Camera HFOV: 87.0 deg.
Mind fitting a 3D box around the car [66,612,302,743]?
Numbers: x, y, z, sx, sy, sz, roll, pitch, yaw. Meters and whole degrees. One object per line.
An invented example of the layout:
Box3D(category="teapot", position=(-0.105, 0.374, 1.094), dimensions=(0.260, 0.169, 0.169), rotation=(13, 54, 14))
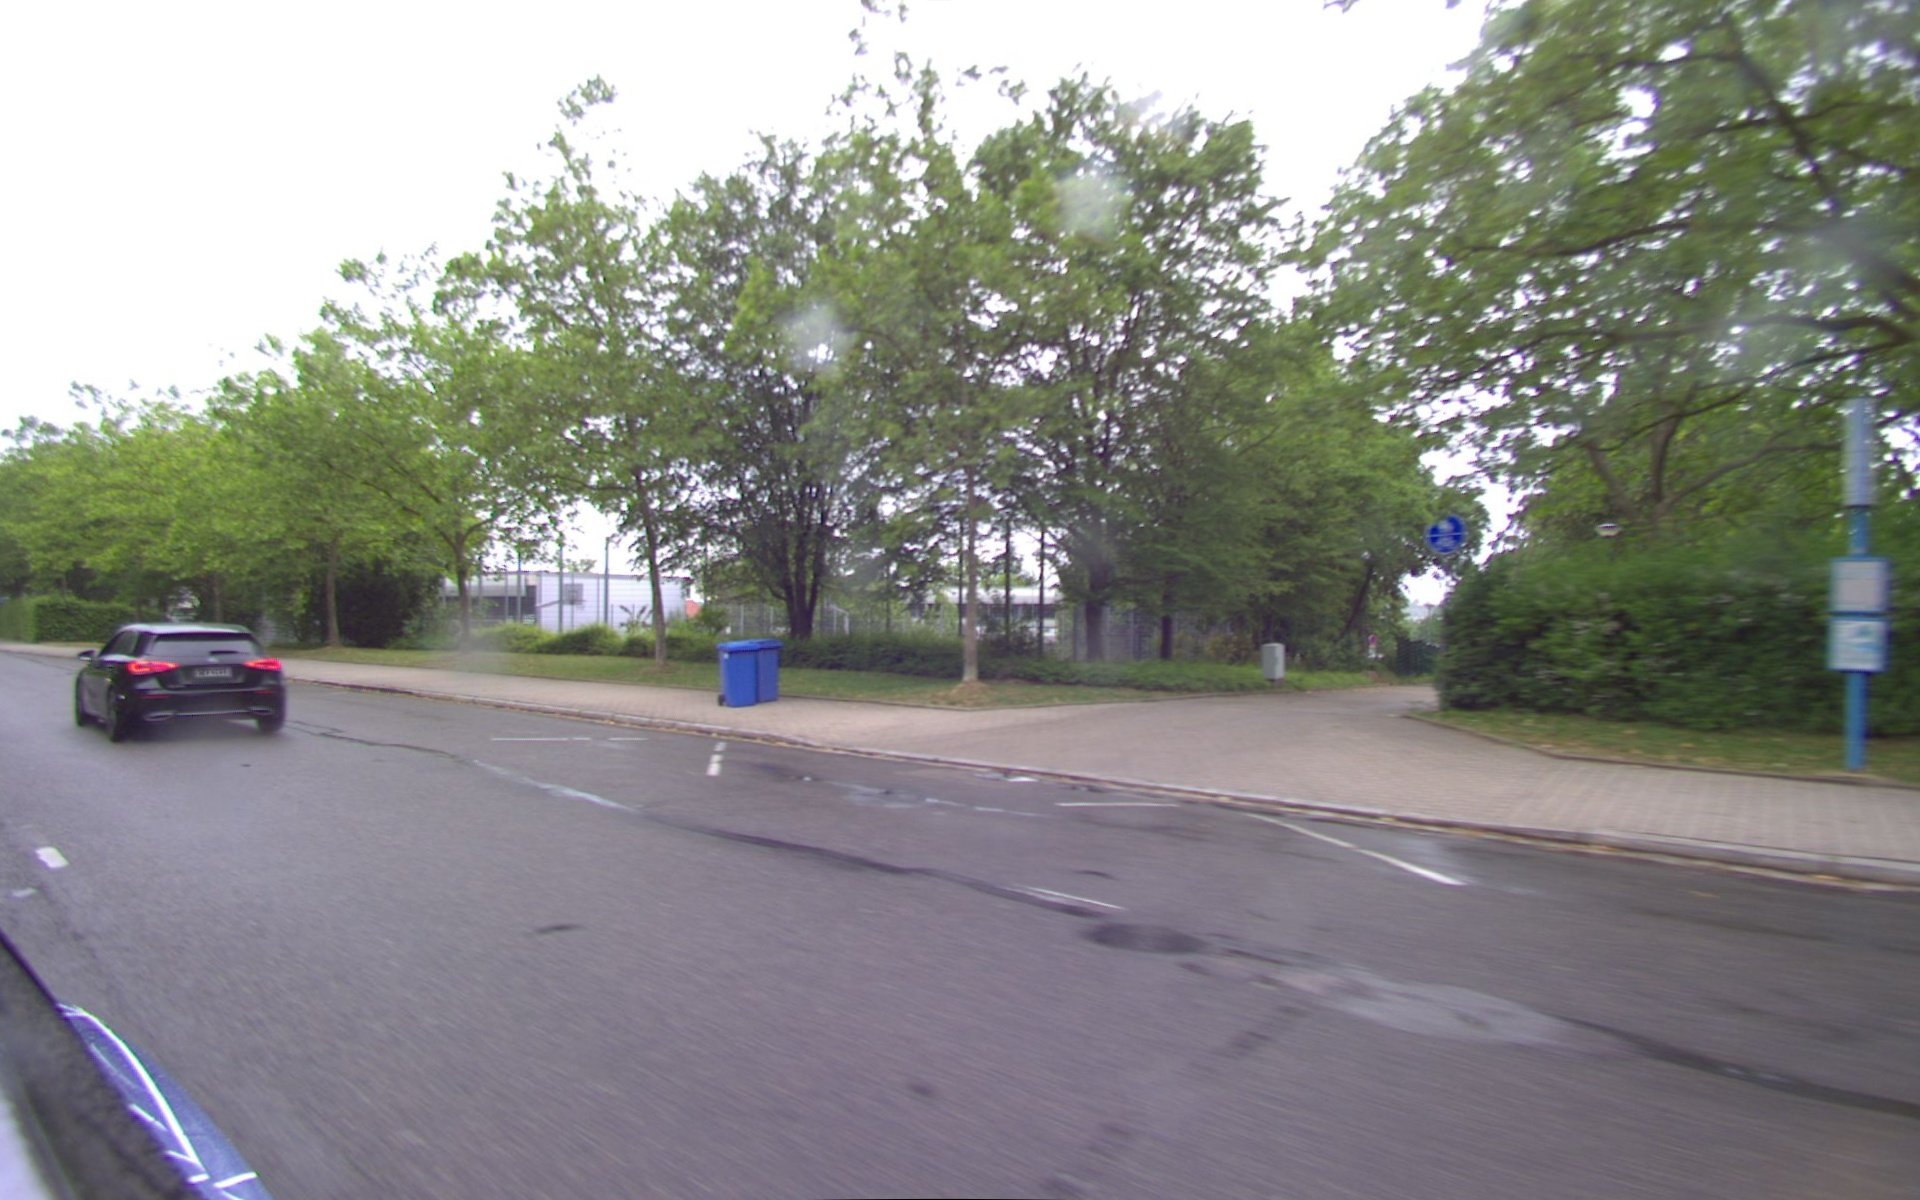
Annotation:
Box3D(category="car", position=(-10.398, 0.923, 13.455), dimensions=(4.000, 1.476, 1.806), rotation=(-1, -2, 43))

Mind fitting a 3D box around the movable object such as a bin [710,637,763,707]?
Box3D(category="movable object such as a bin", position=(-3.725, 1.184, 16.880), dimensions=(0.672, 1.106, 0.560), rotation=(-1, 1, 44))

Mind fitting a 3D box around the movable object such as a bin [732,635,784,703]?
Box3D(category="movable object such as a bin", position=(-3.493, 1.180, 17.481), dimensions=(0.672, 1.106, 0.560), rotation=(-1, 1, 44))
